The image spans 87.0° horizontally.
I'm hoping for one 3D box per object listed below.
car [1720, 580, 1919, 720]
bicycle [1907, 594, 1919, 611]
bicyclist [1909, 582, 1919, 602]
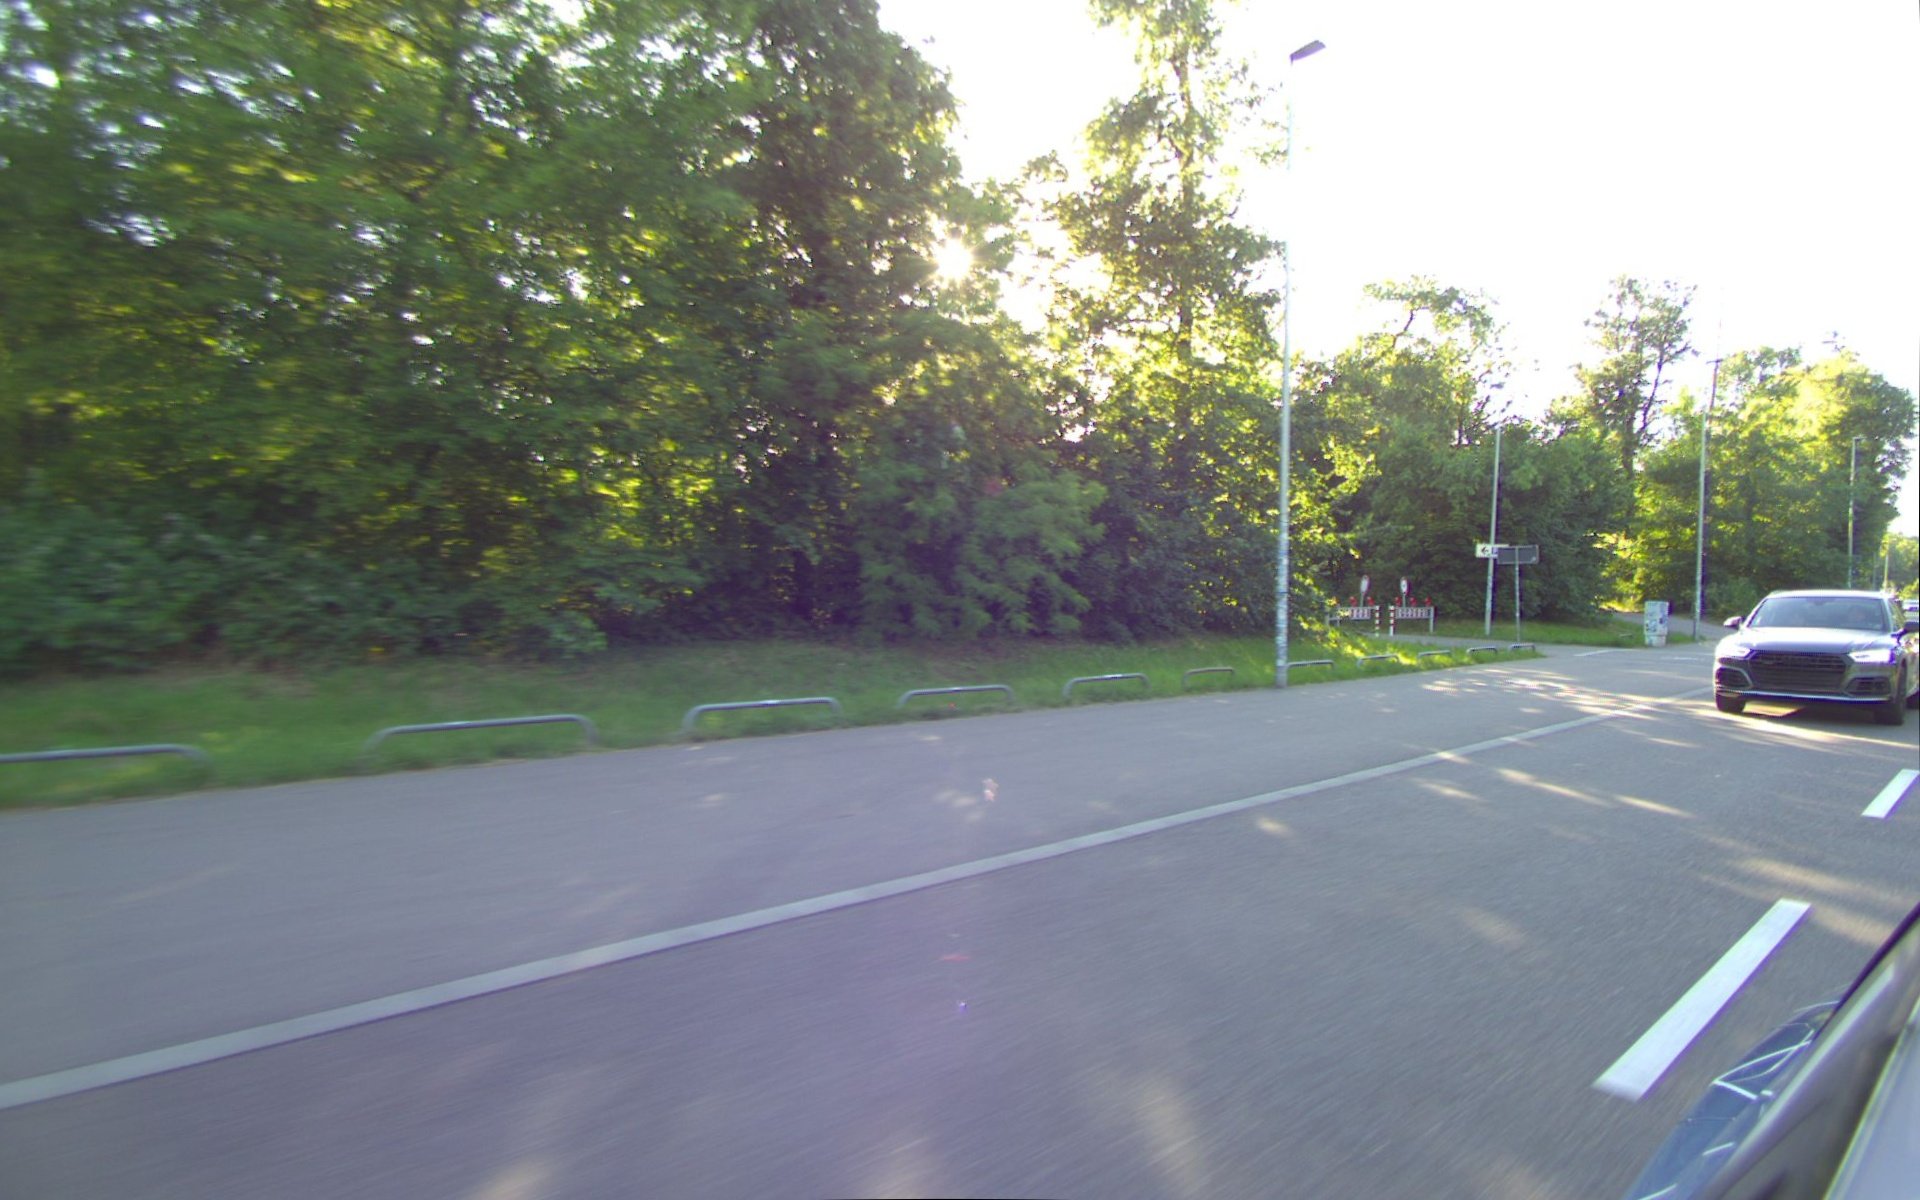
[{"bbox_3d":[12.117,0.552,13.932,4.468,1.625,1.895,-1,1,-43],"label":"car"},{"bbox_3d":[71.056,0.178,75.332,0.552,1.151,1.840,4,3,35],"label":"bicycle"},{"bbox_3d":[71.109,-0.594,75.307,0.519,1.486,0.850,6,4,35],"label":"bicyclist"}]
